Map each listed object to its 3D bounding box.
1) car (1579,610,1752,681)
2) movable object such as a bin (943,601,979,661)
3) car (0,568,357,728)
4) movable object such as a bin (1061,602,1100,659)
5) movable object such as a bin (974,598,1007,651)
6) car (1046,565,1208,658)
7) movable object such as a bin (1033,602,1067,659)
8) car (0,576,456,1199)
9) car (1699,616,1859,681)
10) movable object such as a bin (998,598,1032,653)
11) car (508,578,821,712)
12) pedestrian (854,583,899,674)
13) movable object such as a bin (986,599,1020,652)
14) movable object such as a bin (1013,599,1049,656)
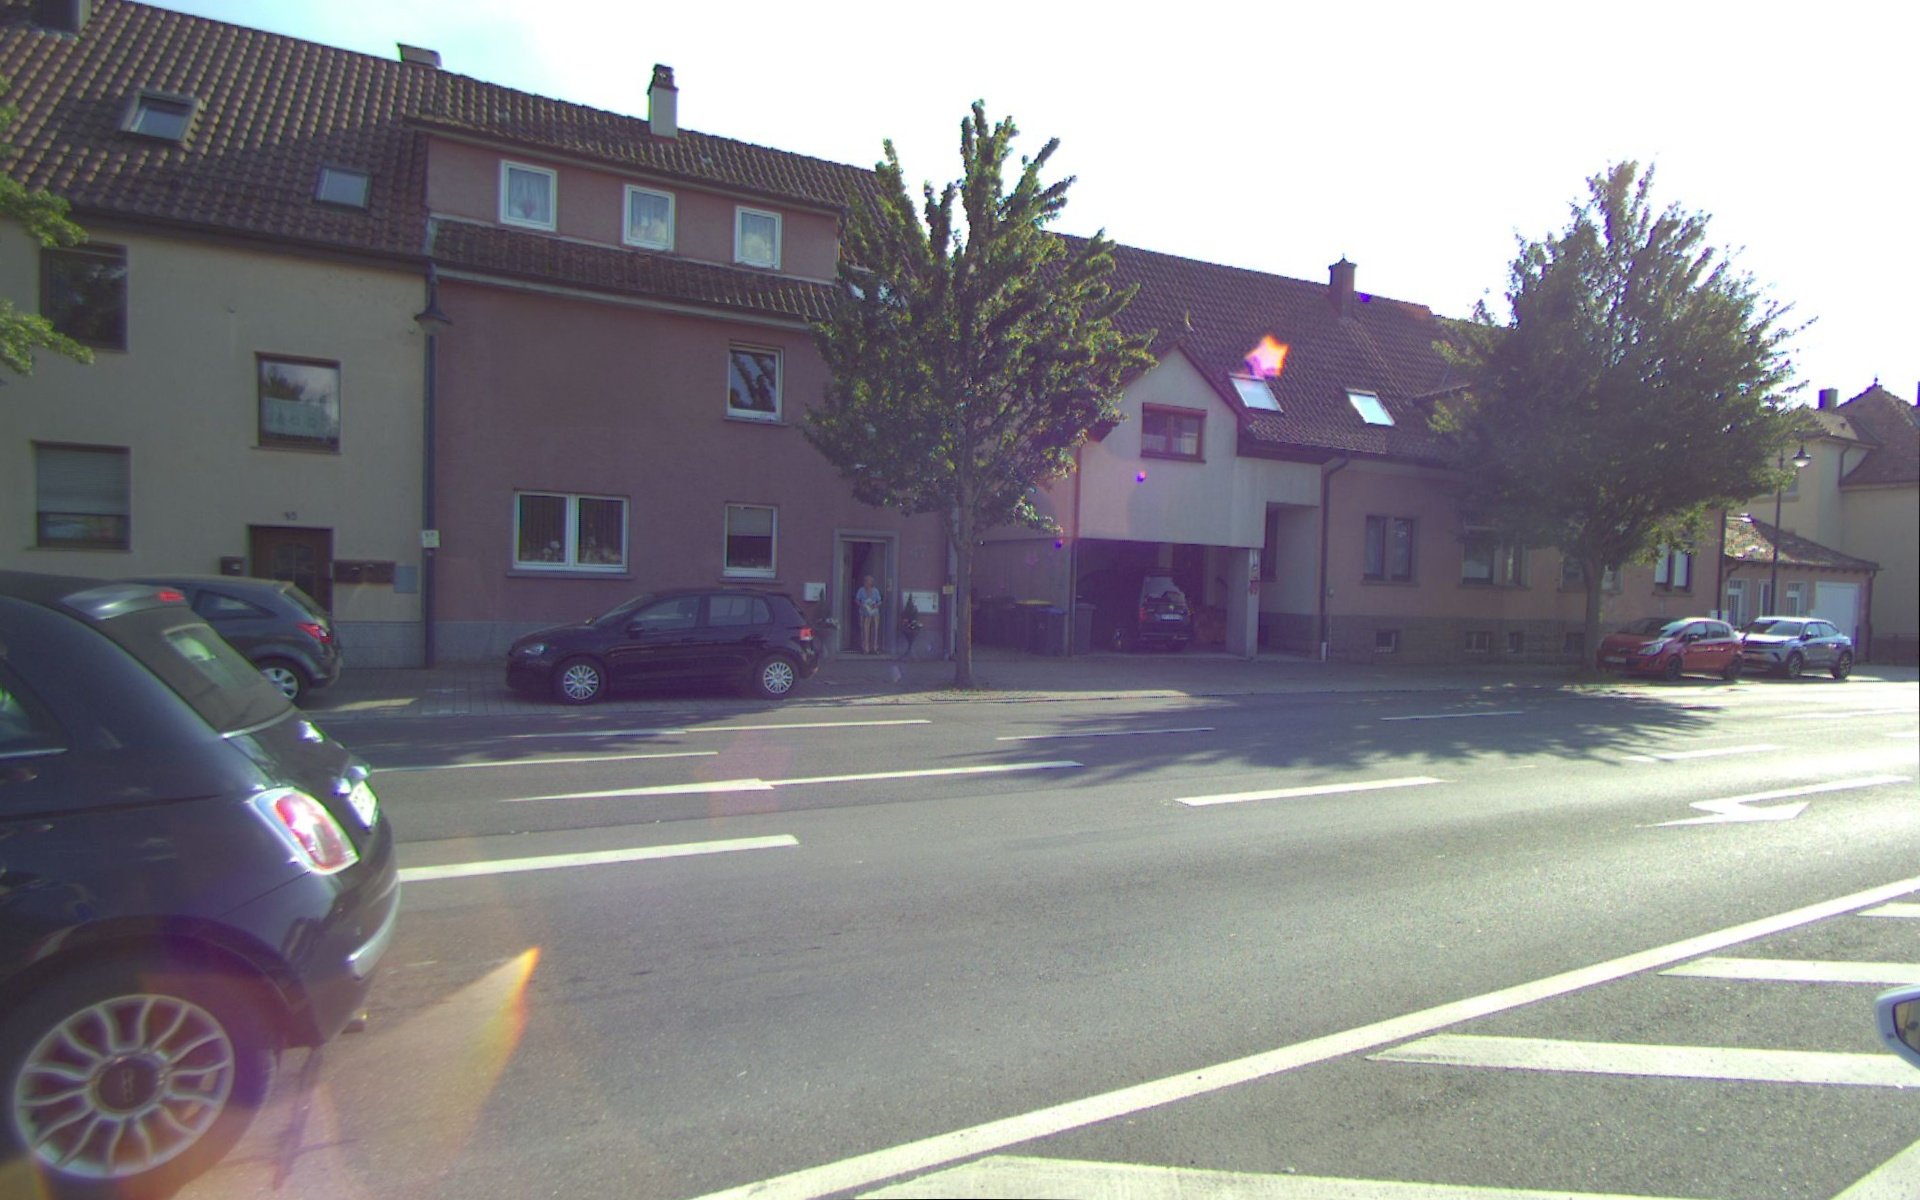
[{"bbox_3d":[17.302,1.103,24.635,3.945,1.507,1.660,1,3,-25],"label":"car"},{"bbox_3d":[0.010,0.612,20.072,0.523,1.158,0.549,1,1,-27],"label":"movable object such as a bin"},{"bbox_3d":[-8.869,0.466,11.005,3.840,1.531,1.504,1,2,-31],"label":"car"},{"bbox_3d":[2.527,0.627,21.065,0.570,1.158,0.562,0,1,-34],"label":"movable object such as a bin"},{"bbox_3d":[0.684,0.546,22.481,0.534,1.152,0.507,1,1,-29],"label":"movable object such as a bin"},{"bbox_3d":[3.782,0.203,23.395,1.756,1.906,3.806,1,2,-27],"label":"car"},{"bbox_3d":[1.823,0.613,20.453,0.494,1.152,0.473,1,1,-29],"label":"movable object such as a bin"},{"bbox_3d":[-3.176,0.670,2.427,3.463,1.482,1.526,1,1,-29],"label":"car"},{"bbox_3d":[21.856,1.242,26.792,3.947,1.499,1.749,1,3,-26],"label":"car"},{"bbox_3d":[1.171,0.543,21.532,0.534,1.152,0.507,1,1,-29],"label":"movable object such as a bin"},{"bbox_3d":[-4.004,0.562,13.650,3.851,1.553,1.660,1,3,-26],"label":"car"},{"bbox_3d":[-1.541,0.507,18.438,0.764,1.629,0.721,1,1,-8],"label":"pedestrian"},{"bbox_3d":[0.937,0.552,22.023,0.534,1.152,0.507,1,1,-29],"label":"movable object such as a bin"},{"bbox_3d":[1.477,0.567,20.921,0.534,1.152,0.507,1,1,-29],"label":"movable object such as a bin"}]
